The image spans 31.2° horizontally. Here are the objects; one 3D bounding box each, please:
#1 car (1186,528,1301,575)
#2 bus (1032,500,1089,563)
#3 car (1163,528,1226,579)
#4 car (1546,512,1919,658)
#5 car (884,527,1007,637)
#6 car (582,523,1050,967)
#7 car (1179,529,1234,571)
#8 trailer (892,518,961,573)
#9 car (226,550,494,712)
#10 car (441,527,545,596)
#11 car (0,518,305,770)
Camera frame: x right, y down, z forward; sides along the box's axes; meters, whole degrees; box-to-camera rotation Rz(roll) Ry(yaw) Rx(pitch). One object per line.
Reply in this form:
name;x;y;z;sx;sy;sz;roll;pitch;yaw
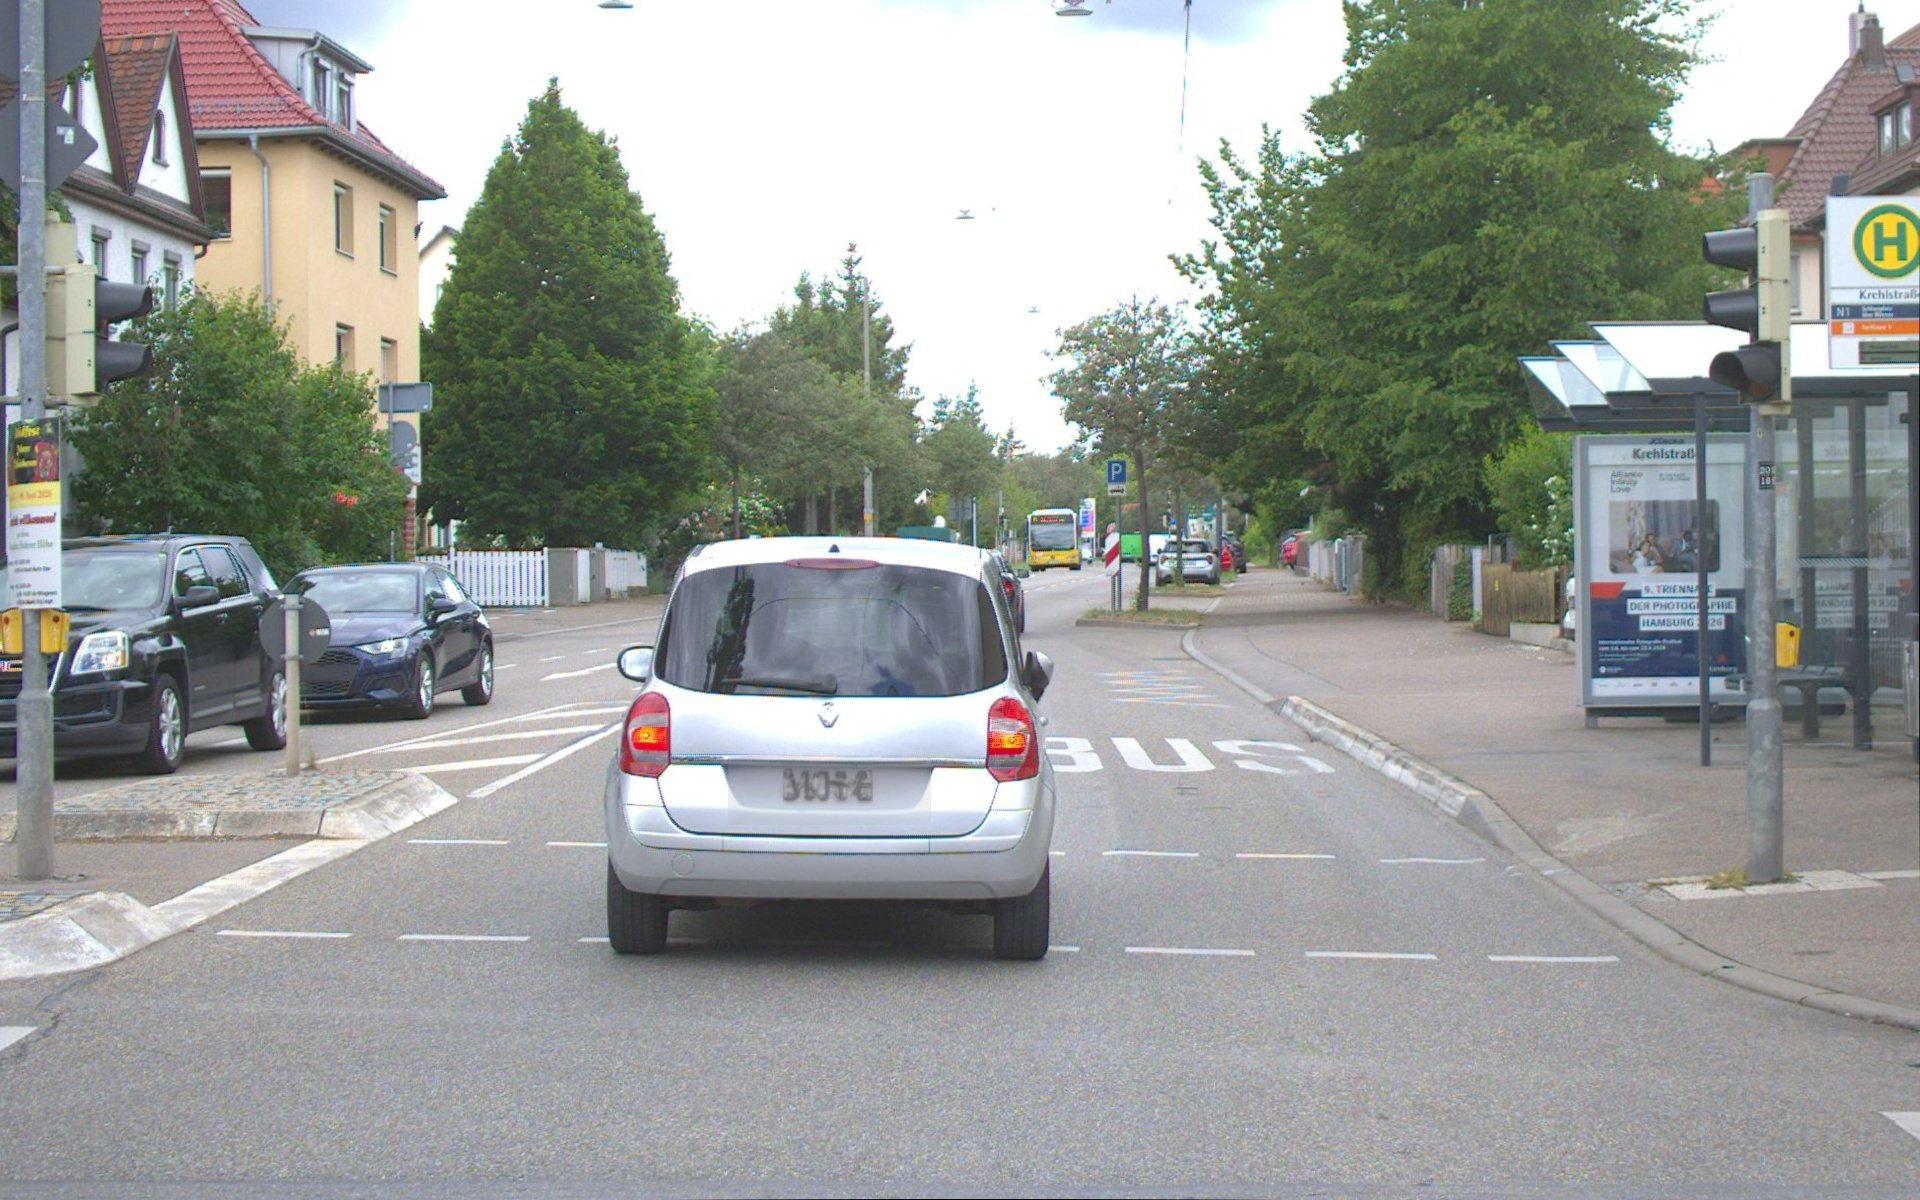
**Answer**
car;10.563;-1.801;128.264;3.986;1.491;1.810;-4;1;-3
bus;5.238;-3.526;177.892;2.632;3.075;12.069;-2;1;3
car;6.586;-1.281;96.246;1.650;1.378;3.999;0;0;5
car;9.062;-0.172;39.342;4.420;1.483;1.865;-2;0;4
car;-0.261;-0.292;54.342;1.829;1.670;3.574;-1;1;-2
car;-0.596;0.512;14.184;1.630;1.551;4.000;1;0;-3
car;8.291;-1.698;115.406;1.663;1.388;3.667;0;1;7
trailer;-1.291;-2.133;136.527;2.312;2.079;5.872;1;0;3
car;-5.564;0.273;32.306;1.564;1.415;4.130;-1;0;3
car;-11.593;-0.980;85.640;1.806;1.559;4.618;-3;1;1
car;-6.233;0.312;24.896;1.758;1.629;4.594;-2;0;4
